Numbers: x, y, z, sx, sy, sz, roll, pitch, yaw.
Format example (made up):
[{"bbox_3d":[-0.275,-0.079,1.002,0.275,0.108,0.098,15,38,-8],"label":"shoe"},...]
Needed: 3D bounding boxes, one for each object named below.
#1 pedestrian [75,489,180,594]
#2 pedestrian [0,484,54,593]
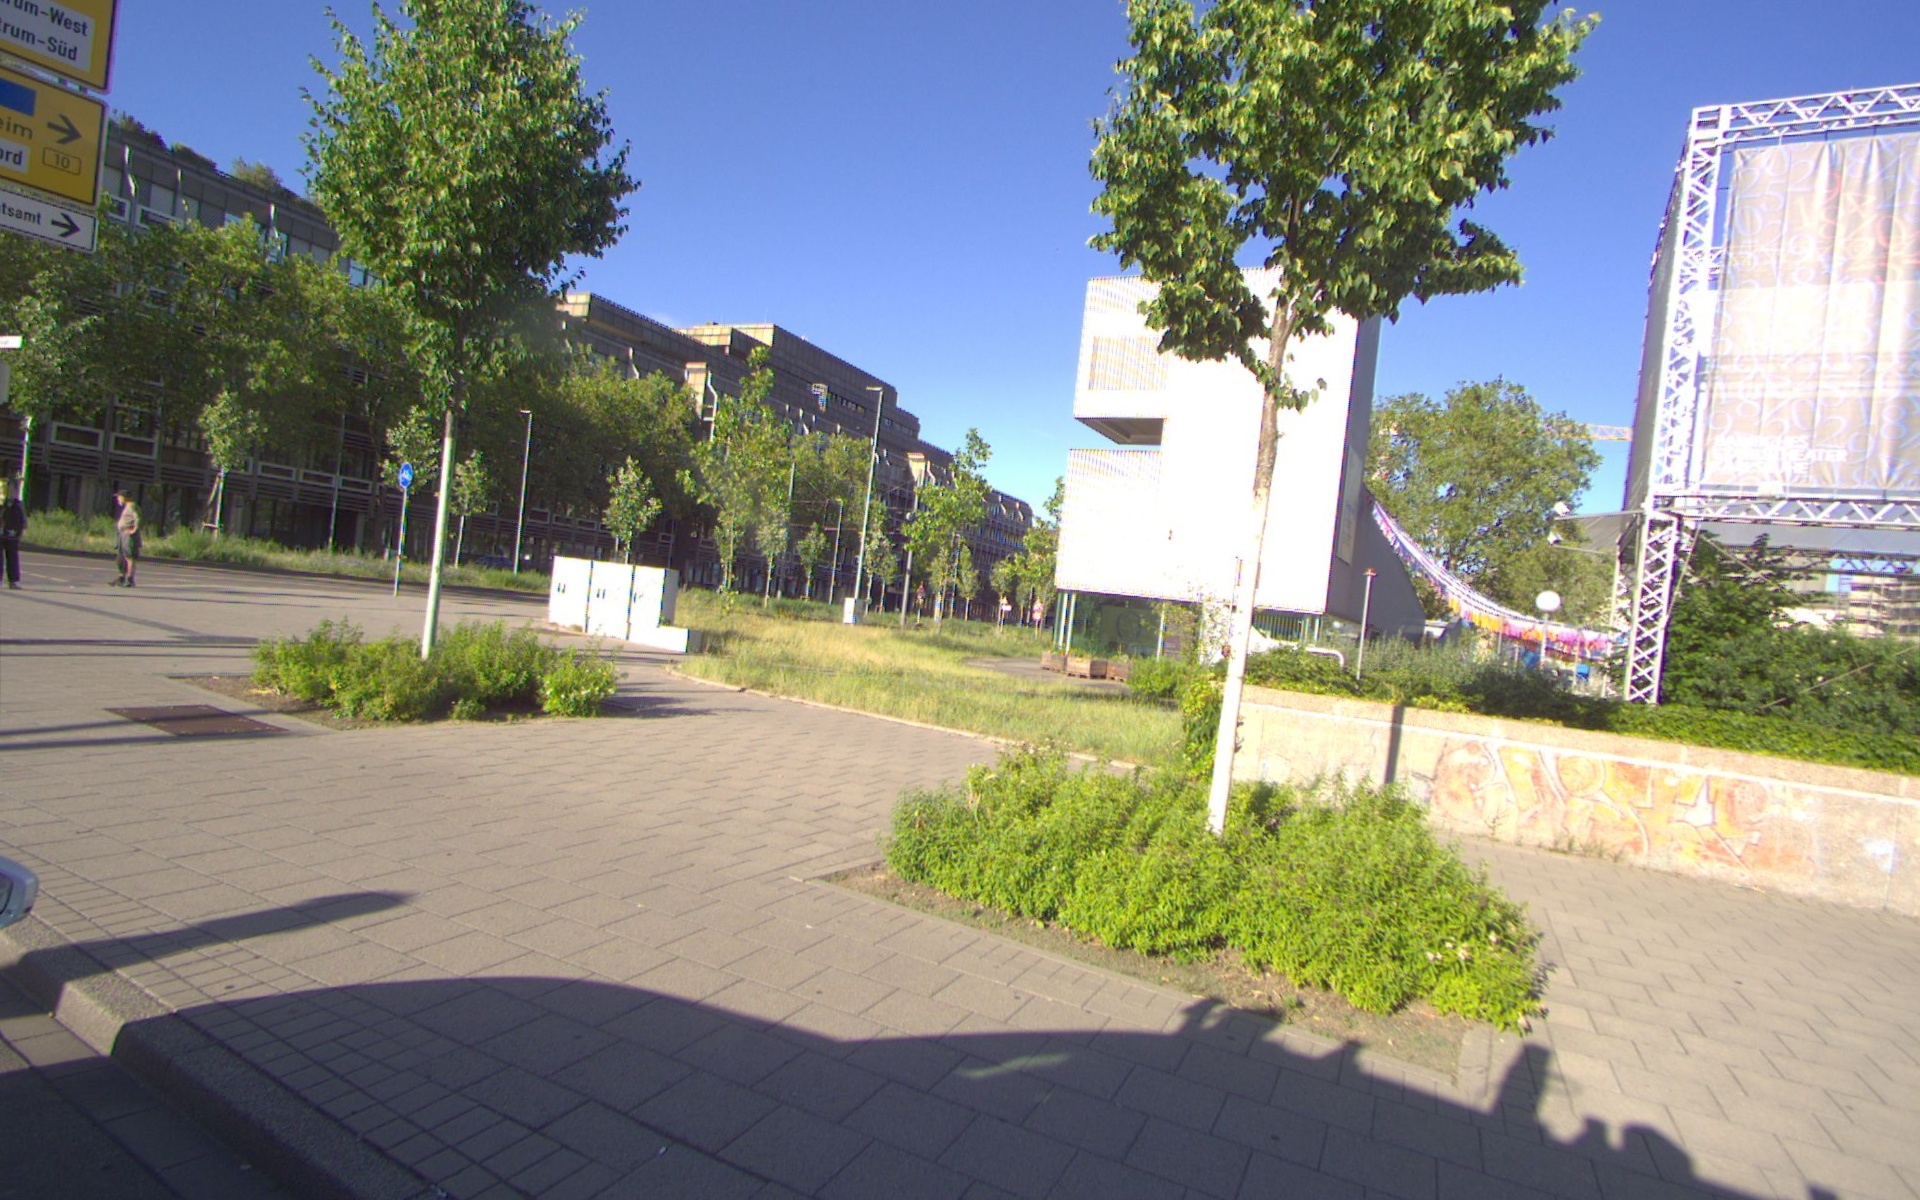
[{"bbox_3d":[-14.871,-1.034,17.987,0.946,1.684,0.882,7,-1,11],"label":"pedestrian"},{"bbox_3d":[-14.043,-0.921,14.788,0.633,1.510,0.789,6,-1,31],"label":"pedestrian"}]
